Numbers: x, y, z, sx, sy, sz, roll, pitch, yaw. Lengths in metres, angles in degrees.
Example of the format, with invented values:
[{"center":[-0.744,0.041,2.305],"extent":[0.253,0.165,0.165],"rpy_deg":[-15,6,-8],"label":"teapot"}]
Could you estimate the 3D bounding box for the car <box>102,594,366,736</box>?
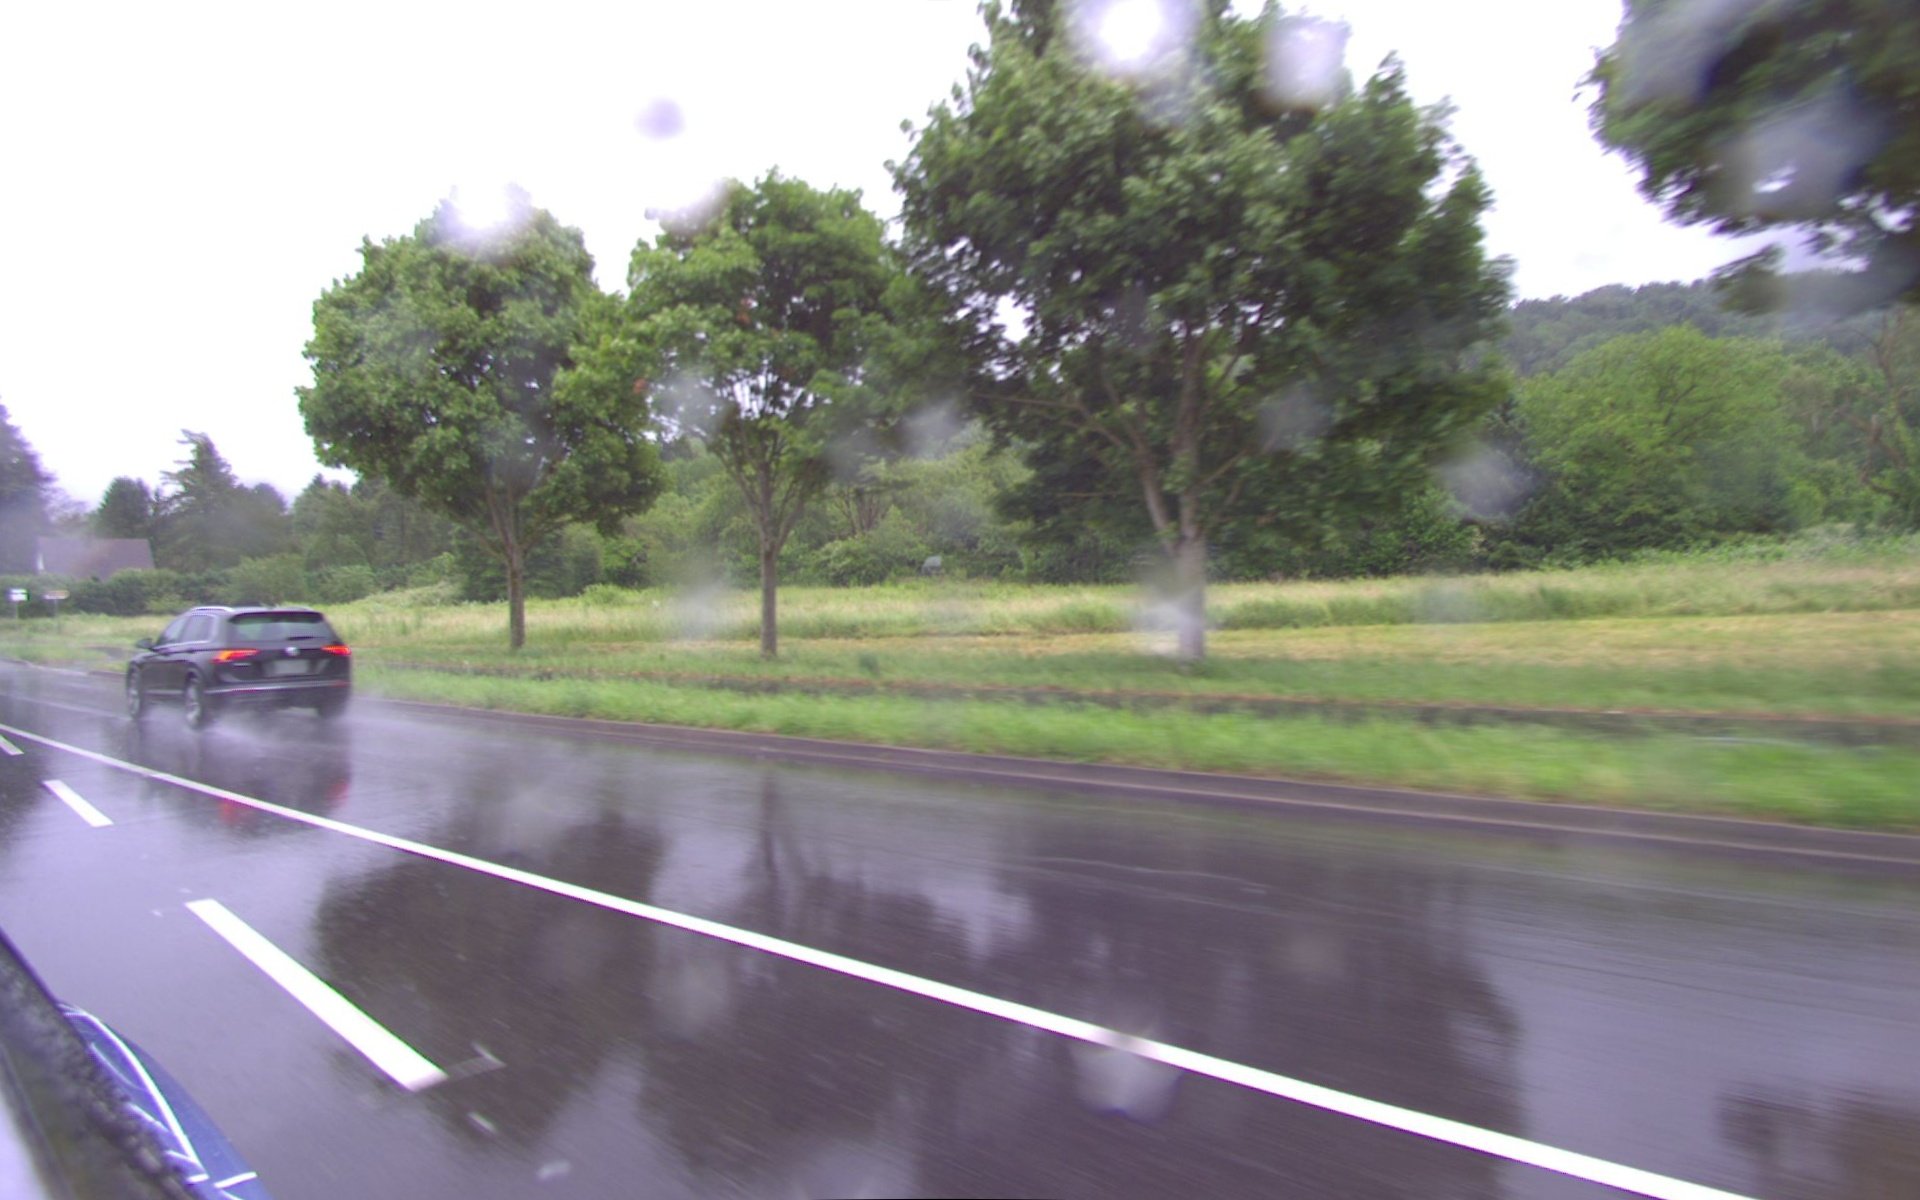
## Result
[{"center":[-10.525,0.836,14.586],"extent":[4.281,1.756,1.906],"rpy_deg":[-1,-1,37],"label":"car"}]
